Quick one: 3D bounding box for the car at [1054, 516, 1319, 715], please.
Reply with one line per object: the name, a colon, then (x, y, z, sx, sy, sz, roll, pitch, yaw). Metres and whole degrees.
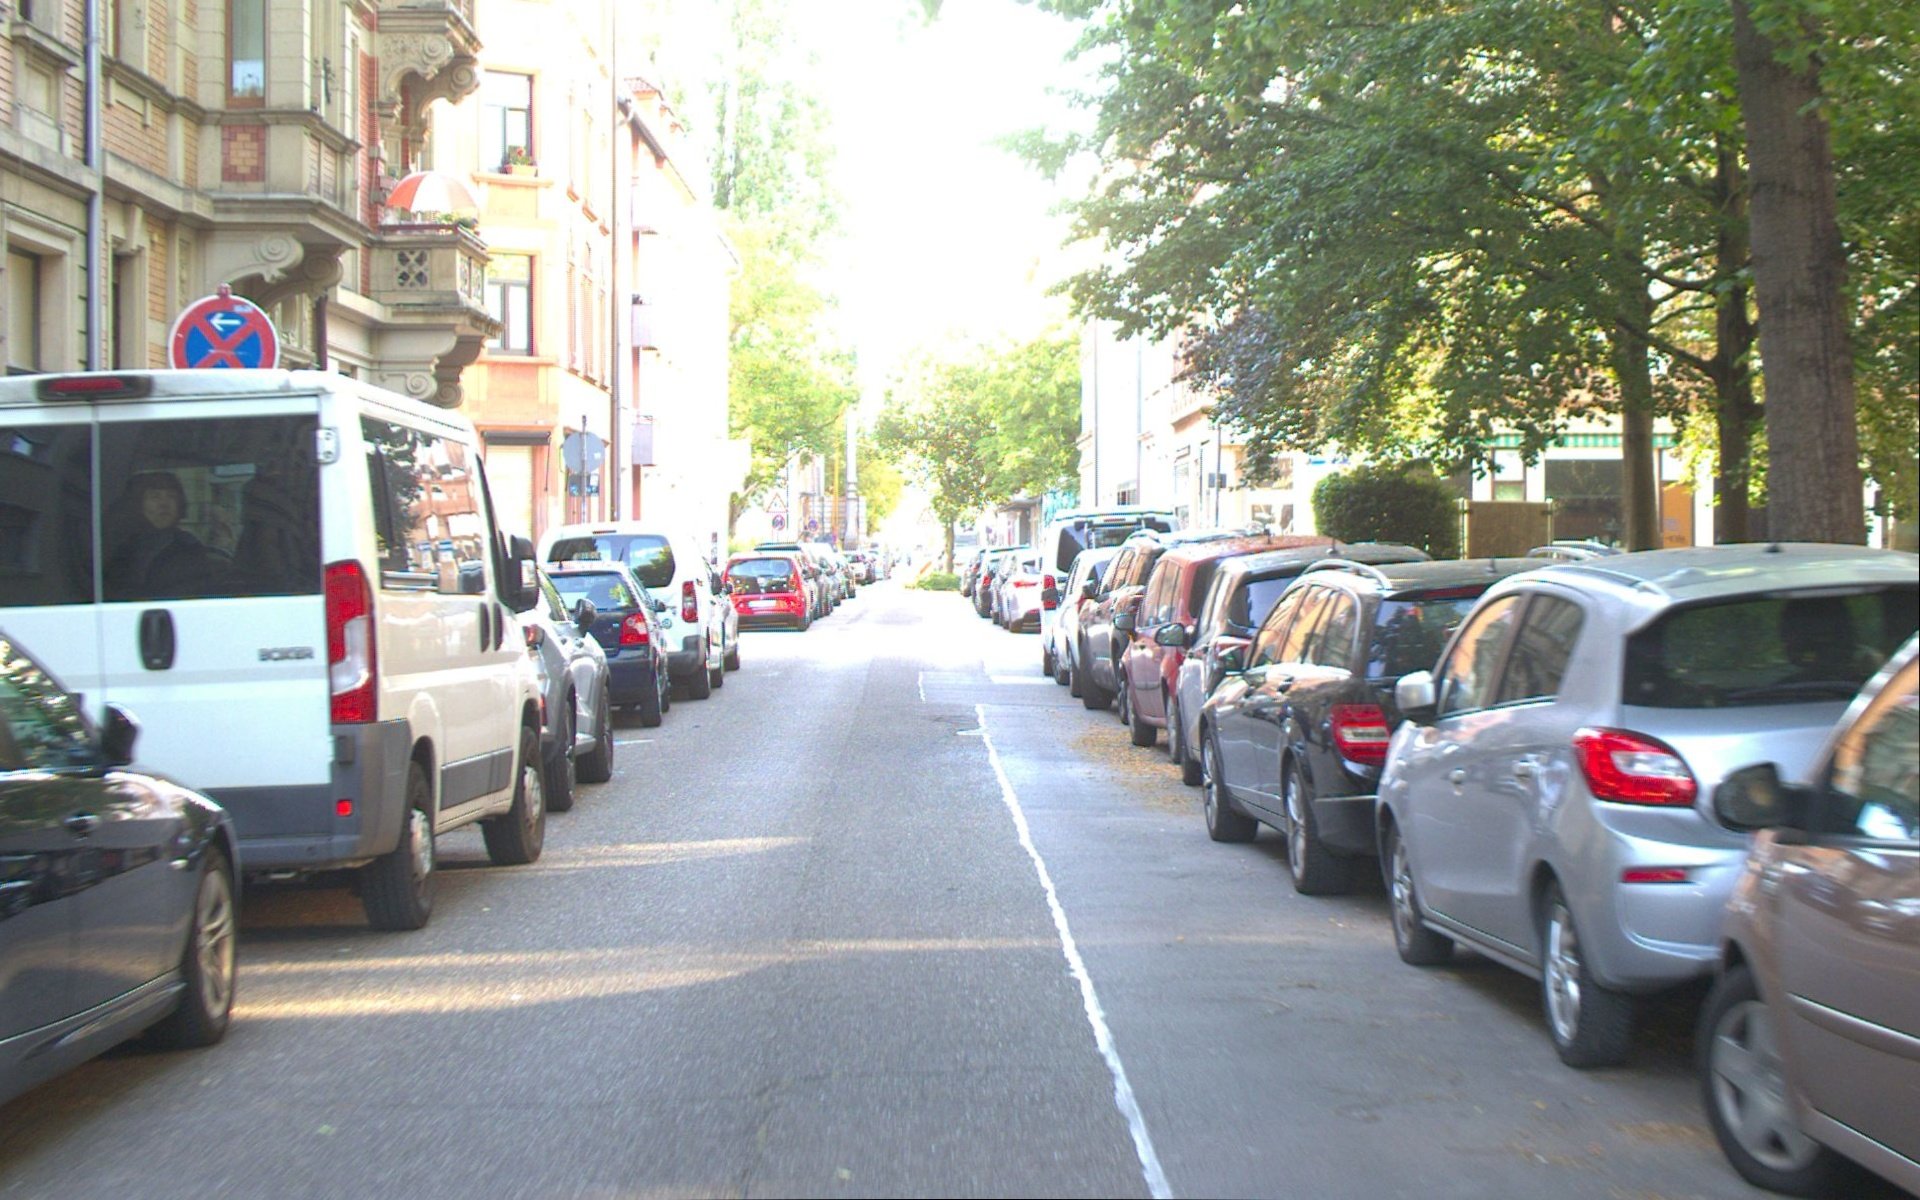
car: (2.026, 0.133, 31.996, 1.739, 1.597, 4.265, -5, 0, -5)

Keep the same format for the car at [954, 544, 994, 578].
car: (0.610, -1.766, 155.239, 1.675, 1.482, 3.638, -2, 1, -1)

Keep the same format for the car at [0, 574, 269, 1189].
car: (-3.105, 0.685, 8.725, 1.731, 1.397, 4.315, -2, 1, 1)

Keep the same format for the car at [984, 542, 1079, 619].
car: (1.451, -0.427, 70.955, 1.744, 1.501, 4.021, -2, 1, -1)

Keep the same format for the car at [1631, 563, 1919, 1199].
car: (2.562, 0.641, 6.947, 1.599, 1.463, 3.564, -5, 0, 0)

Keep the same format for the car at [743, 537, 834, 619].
car: (-3.977, -0.542, 80.308, 1.743, 1.805, 4.672, -2, 1, 1)

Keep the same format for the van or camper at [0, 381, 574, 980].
van or camper: (-3.148, 0.259, 15.121, 2.177, 2.140, 5.154, -2, 1, 1)

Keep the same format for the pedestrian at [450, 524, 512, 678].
pedestrian: (-5.141, 0.017, 36.941, 0.548, 1.639, 0.717, 1, -1, -1)

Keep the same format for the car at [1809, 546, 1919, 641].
car: (15.784, -0.079, 55.480, 3.855, 1.468, 1.633, 1, -1, 6)

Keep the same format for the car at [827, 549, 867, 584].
car: (-5.028, -1.490, 153.552, 1.675, 1.482, 4.095, -2, 1, -1)

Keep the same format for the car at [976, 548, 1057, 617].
car: (1.287, -0.433, 79.916, 1.675, 1.501, 3.938, -2, 1, -1)

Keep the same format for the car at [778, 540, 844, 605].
car: (-4.296, -0.815, 99.471, 1.765, 1.779, 4.039, -2, 1, -1)

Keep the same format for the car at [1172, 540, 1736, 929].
car: (2.141, 0.534, 16.223, 1.675, 1.436, 4.696, -5, 0, -3)

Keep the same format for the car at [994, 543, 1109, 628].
car: (1.686, -0.298, 64.693, 1.743, 1.501, 4.358, -2, 1, -3)

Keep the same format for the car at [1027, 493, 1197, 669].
car: (1.828, -0.260, 42.471, 1.914, 1.991, 4.792, -2, 1, 1)

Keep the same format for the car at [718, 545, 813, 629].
car: (-3.660, -0.270, 65.218, 1.628, 1.476, 3.601, -2, 1, -1)

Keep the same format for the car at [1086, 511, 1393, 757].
car: (2.052, 0.241, 26.304, 1.618, 1.619, 3.864, -5, 0, -5)

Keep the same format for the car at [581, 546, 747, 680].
car: (-3.515, 0.123, 41.428, 1.692, 1.476, 3.973, -2, 1, -1)

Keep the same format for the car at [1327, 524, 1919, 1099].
car: (2.344, 0.566, 11.371, 1.599, 1.500, 3.628, -5, 0, -3)

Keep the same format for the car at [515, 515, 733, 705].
car: (-3.445, 0.060, 35.983, 1.831, 1.805, 4.572, -2, 1, -1)

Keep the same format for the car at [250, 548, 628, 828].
car: (-3.131, 0.463, 21.429, 1.766, 1.509, 4.194, -2, 1, -1)

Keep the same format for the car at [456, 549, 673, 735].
car: (-3.513, 0.325, 31.100, 1.692, 1.509, 3.974, -2, 1, -3)

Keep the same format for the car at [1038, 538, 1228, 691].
car: (1.818, 0.125, 37.111, 1.719, 1.565, 3.829, 0, 1, -2)

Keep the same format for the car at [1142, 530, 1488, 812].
car: (2.121, 0.394, 21.464, 1.619, 1.481, 3.776, -5, 0, -1)

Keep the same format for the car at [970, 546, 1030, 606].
car: (1.173, -0.702, 101.819, 1.676, 1.676, 4.094, -2, 0, 0)
